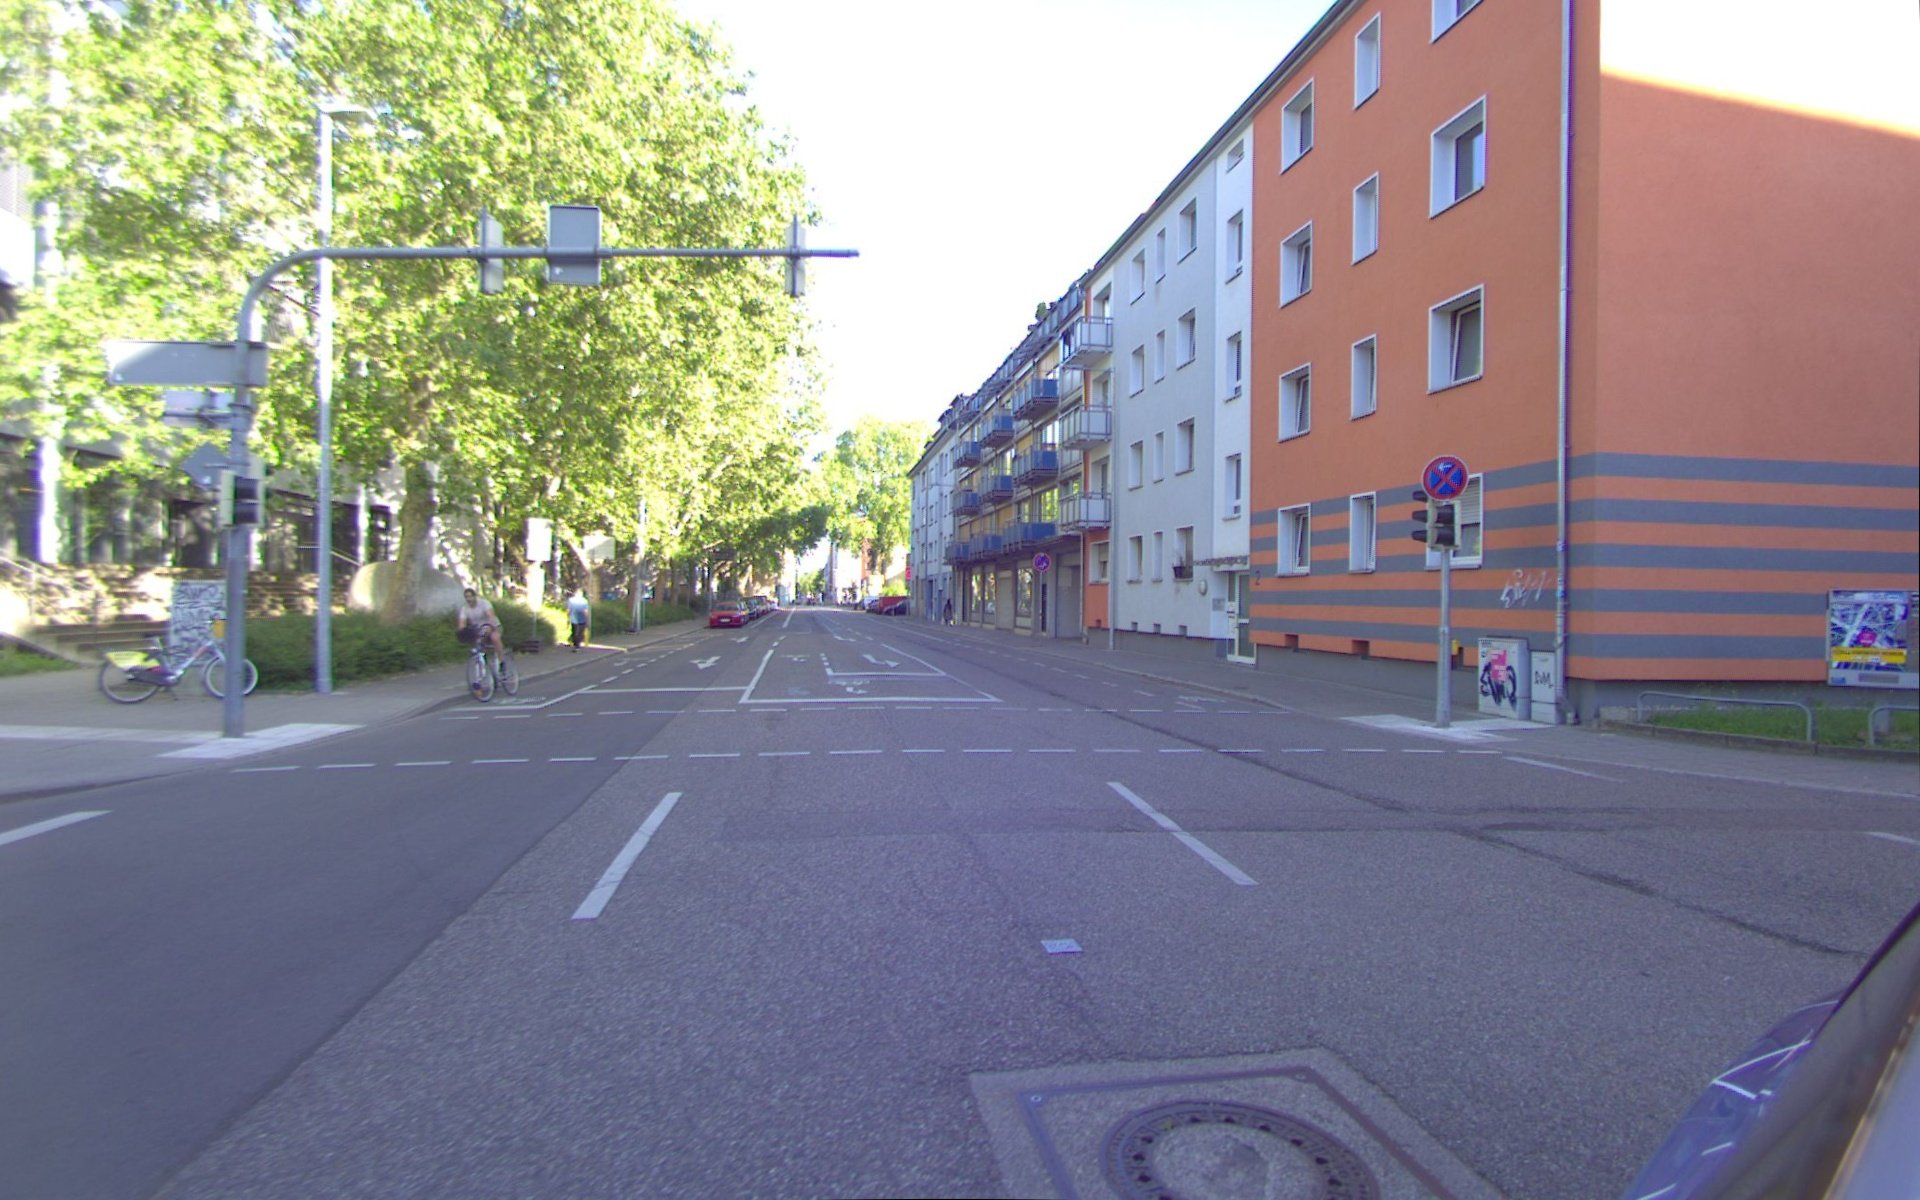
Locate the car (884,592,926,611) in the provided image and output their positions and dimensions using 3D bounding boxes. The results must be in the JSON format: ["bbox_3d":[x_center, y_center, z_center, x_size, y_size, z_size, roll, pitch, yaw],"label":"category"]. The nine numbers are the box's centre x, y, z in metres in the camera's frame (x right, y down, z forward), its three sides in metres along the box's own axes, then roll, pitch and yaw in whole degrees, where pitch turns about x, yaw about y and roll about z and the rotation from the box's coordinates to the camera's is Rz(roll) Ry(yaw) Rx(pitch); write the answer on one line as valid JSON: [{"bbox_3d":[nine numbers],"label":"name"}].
[{"bbox_3d":[-5.466,0.146,100.268,3.918,1.721,1.836,1,0,-7],"label":"car"}]

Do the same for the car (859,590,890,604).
[{"bbox_3d":[-11.059,-0.382,130.333,3.918,1.721,1.836,1,0,-7],"label":"car"}]

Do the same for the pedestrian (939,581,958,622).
[{"bbox_3d":[-0.693,0.091,60.681,0.895,2.427,1.090,1,0,-10],"label":"pedestrian"}]

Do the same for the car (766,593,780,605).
[{"bbox_3d":[-26.638,-0.153,144.280,1.751,1.548,4.664,1,0,-9],"label":"car"}]

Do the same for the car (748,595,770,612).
[{"bbox_3d":[-18.633,0.280,93.927,1.751,1.548,4.664,1,0,-9],"label":"car"}]

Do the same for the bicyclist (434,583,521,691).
[{"bbox_3d":[-7.678,0.566,16.151,0.932,1.661,1.008,0,0,-1],"label":"bicyclist"}]

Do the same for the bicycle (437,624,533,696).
[{"bbox_3d":[-7.639,0.943,16.379,0.690,1.080,1.928,1,-1,-2],"label":"bicycle"}]

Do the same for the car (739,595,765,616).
[{"bbox_3d":[-15.849,0.420,77.278,1.751,1.548,4.664,1,0,-9],"label":"car"}]

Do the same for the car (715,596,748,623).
[{"bbox_3d":[-14.009,0.554,62.191,1.751,1.548,4.665,1,0,-10],"label":"car"}]

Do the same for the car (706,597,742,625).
[{"bbox_3d":[-13.301,0.593,57.207,1.751,1.548,4.665,1,0,-10],"label":"car"}]

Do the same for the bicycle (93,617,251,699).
[{"bbox_3d":[-10.551,0.771,13.626,1.604,1.011,0.623,2,1,-35],"label":"bicycle"}]

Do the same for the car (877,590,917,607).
[{"bbox_3d":[-6.578,-0.142,105.453,3.918,1.721,1.836,1,0,-7],"label":"car"}]

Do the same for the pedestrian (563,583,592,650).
[{"bbox_3d":[-10.524,0.450,27.853,0.657,1.819,0.667,1,0,-15],"label":"pedestrian"}]
